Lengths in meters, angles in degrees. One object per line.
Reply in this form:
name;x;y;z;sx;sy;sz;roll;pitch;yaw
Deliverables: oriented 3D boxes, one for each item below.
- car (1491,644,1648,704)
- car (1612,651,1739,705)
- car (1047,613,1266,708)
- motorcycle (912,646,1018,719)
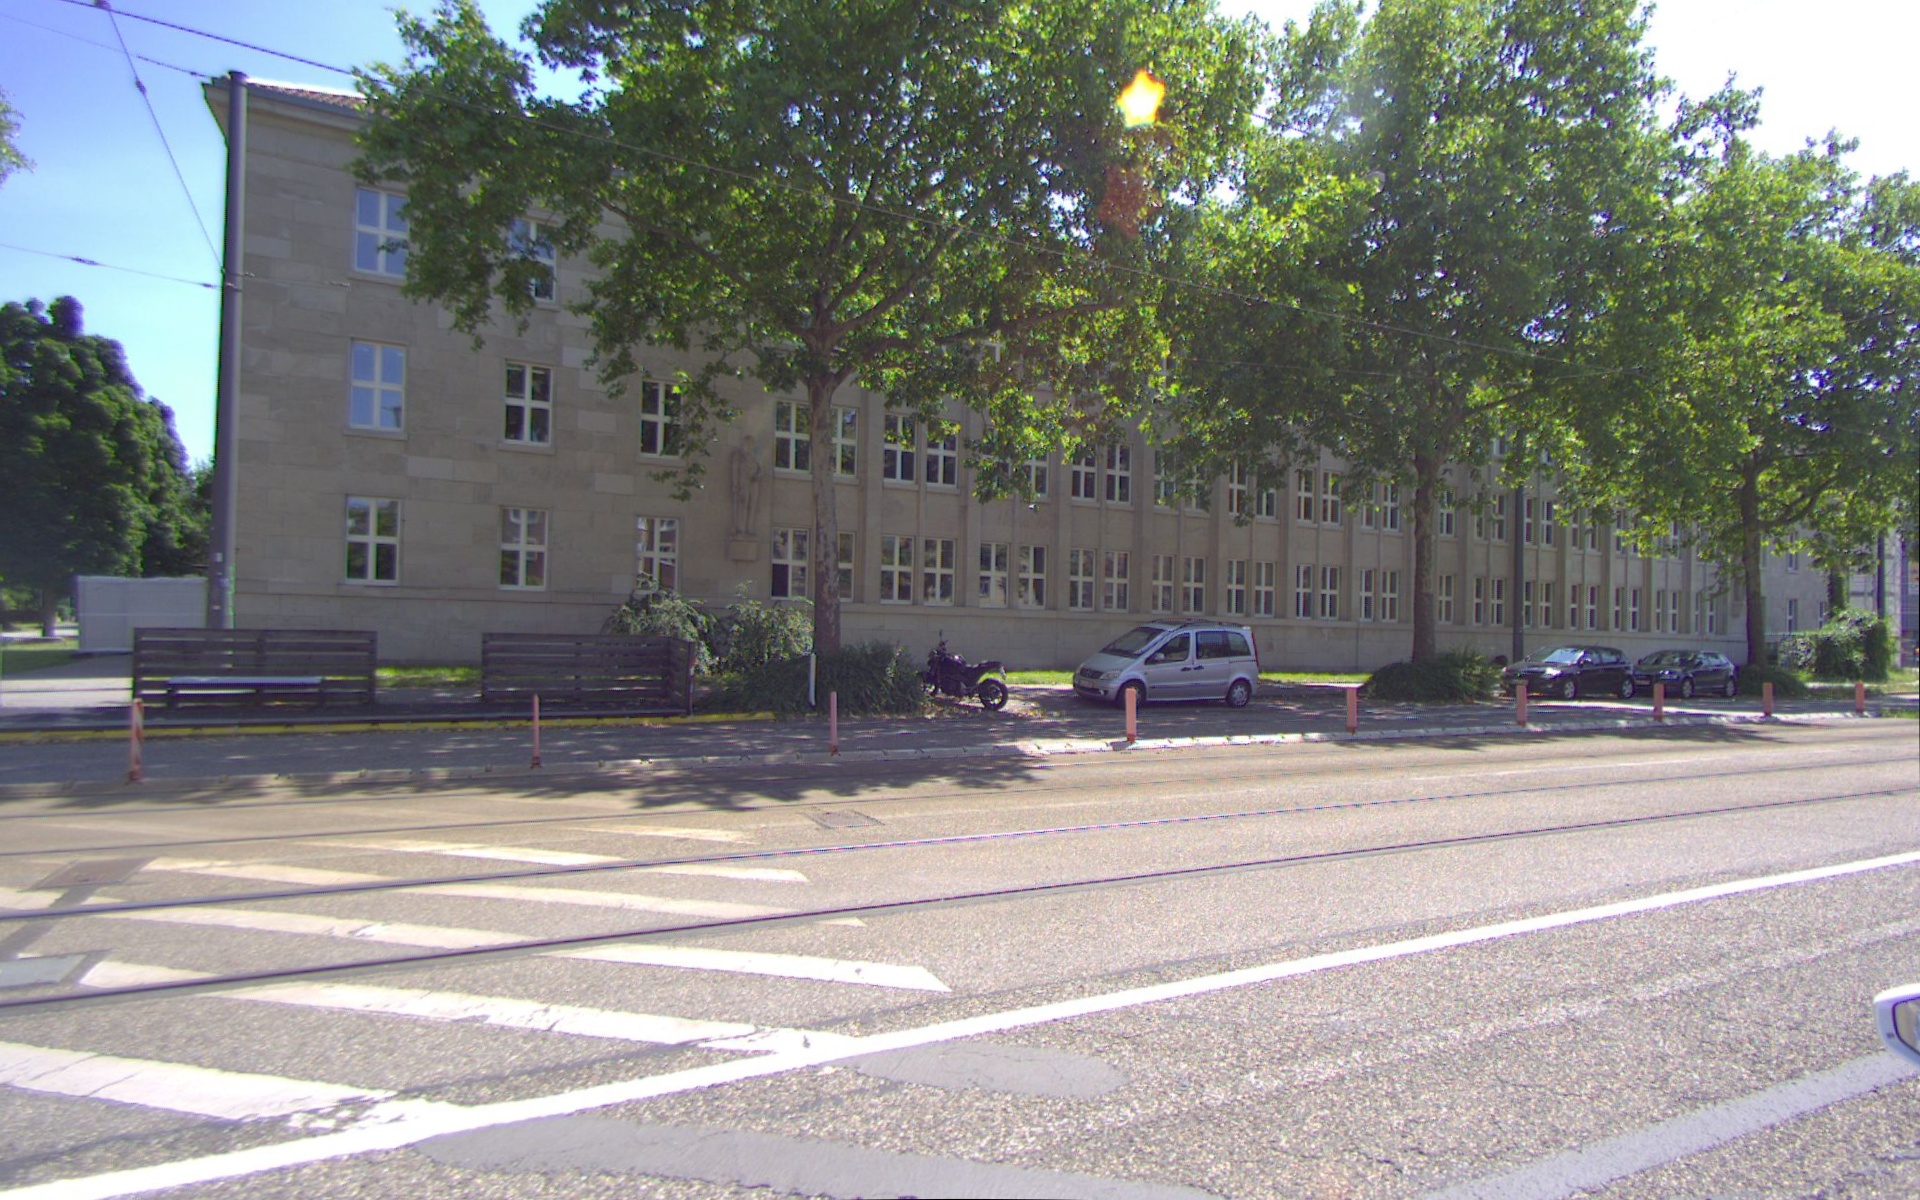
car;17.141;2.087;28.239;4.268;1.502;1.756;3;0;-27
car;21.849;2.377;30.641;4.274;1.442;1.579;3;-1;-31
car;4.249;1.308;21.691;4.244;1.835;1.987;3;0;-26
motorcycle;0.090;1.575;19.426;1.840;1.082;0.725;8;3;33
